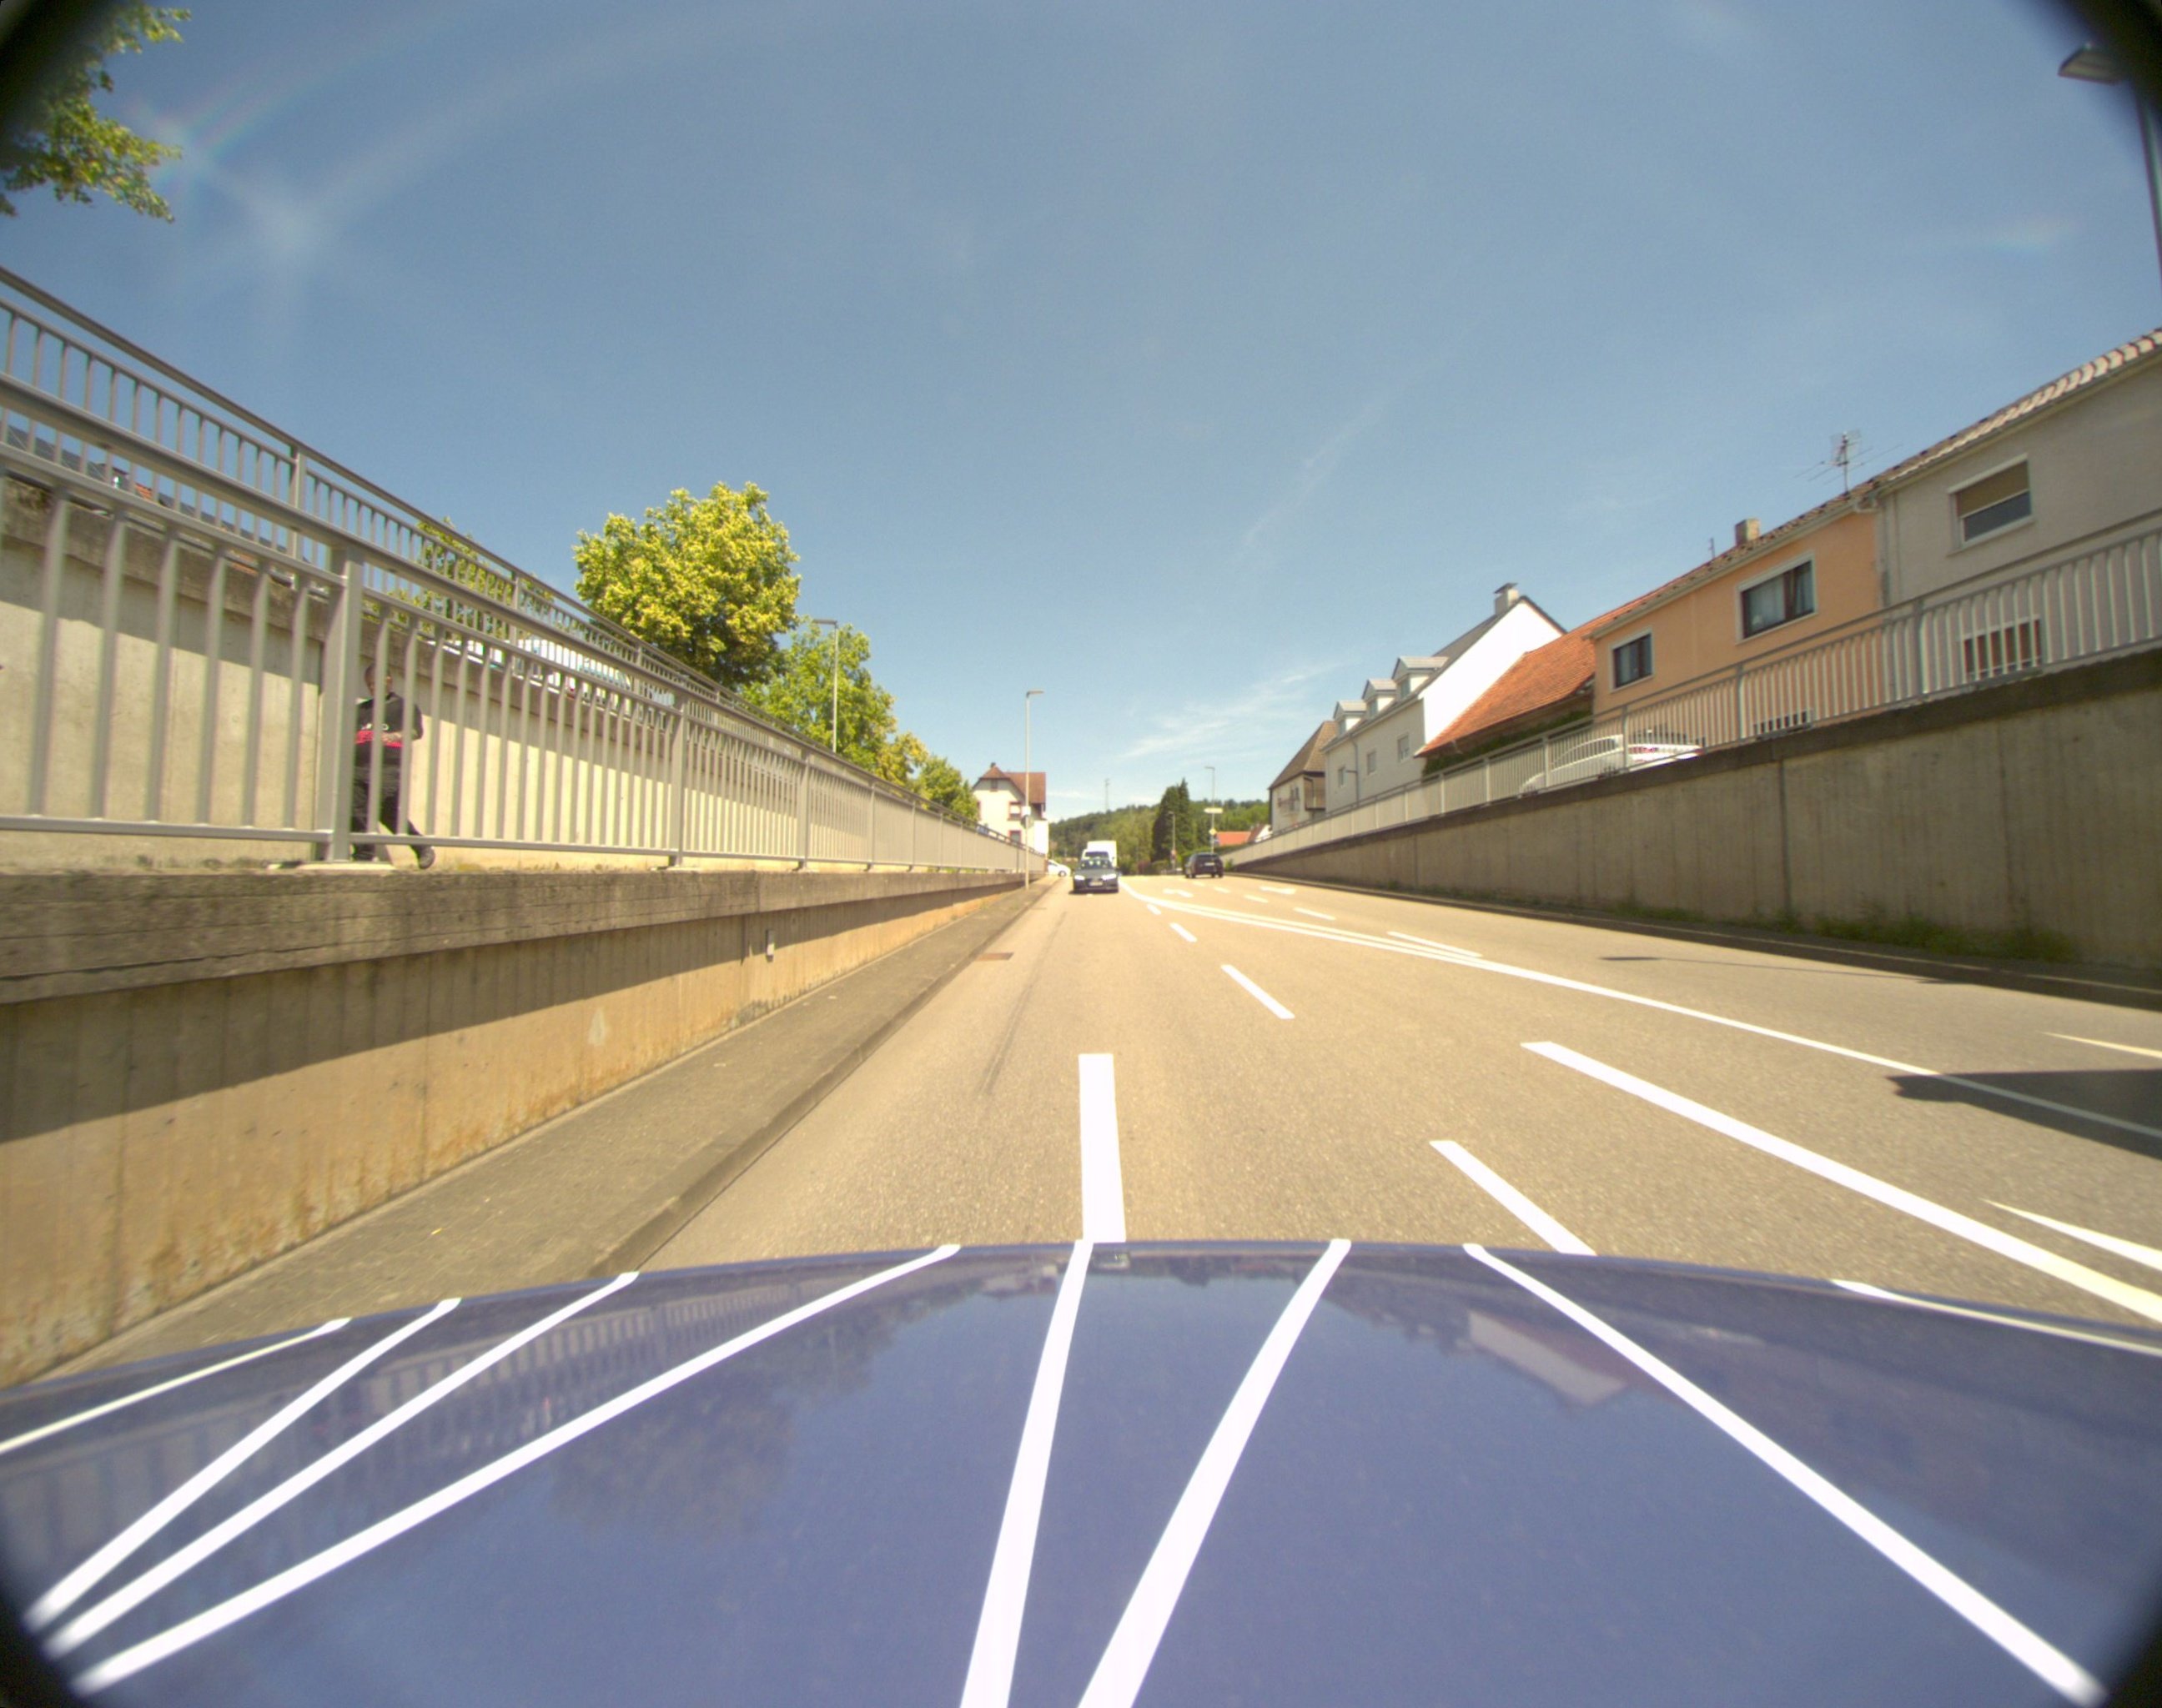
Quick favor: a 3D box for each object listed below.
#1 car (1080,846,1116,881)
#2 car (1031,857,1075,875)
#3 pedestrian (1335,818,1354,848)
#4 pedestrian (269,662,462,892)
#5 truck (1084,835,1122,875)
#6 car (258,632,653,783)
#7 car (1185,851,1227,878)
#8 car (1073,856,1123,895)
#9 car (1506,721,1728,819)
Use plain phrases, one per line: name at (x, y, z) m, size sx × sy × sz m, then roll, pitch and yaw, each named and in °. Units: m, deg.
car at (0.999, 0.527, 46.047) m, size 1.998 × 2.002 × 4.548 m, roll -2°, pitch 1°, yaw 1°
car at (-2.438, 1.063, 65.200) m, size 3.680 × 1.469 × 1.775 m, roll 1°, pitch -1°, yaw -5°
pedestrian at (15.597, -1.230, 44.948) m, size 0.729 × 1.719 × 0.856 m, roll -2°, pitch 0°, yaw -3°
pedestrian at (-5.860, -0.593, 6.274) m, size 0.838 × 1.771 × 0.788 m, roll 0°, pitch 0°, yaw 1°
truck at (1.964, 0.194, 71.246) m, size 3.149 × 3.466 × 8.273 m, roll -1°, pitch -1°, yaw 0°
car at (-10.462, -2.409, 13.017) m, size 5.124 × 2.050 × 1.990 m, roll 0°, pitch -3°, yaw 2°
car at (7.207, 0.568, 44.195) m, size 1.765 × 1.480 × 4.368 m, roll -1°, pitch 0°, yaw 1°
car at (0.656, 0.821, 30.810) m, size 1.864 × 1.441 × 4.000 m, roll -1°, pitch 0°, yaw 0°
car at (11.823, -1.771, 17.214) m, size 1.818 × 1.453 × 4.311 m, roll -2°, pitch -3°, yaw -2°
